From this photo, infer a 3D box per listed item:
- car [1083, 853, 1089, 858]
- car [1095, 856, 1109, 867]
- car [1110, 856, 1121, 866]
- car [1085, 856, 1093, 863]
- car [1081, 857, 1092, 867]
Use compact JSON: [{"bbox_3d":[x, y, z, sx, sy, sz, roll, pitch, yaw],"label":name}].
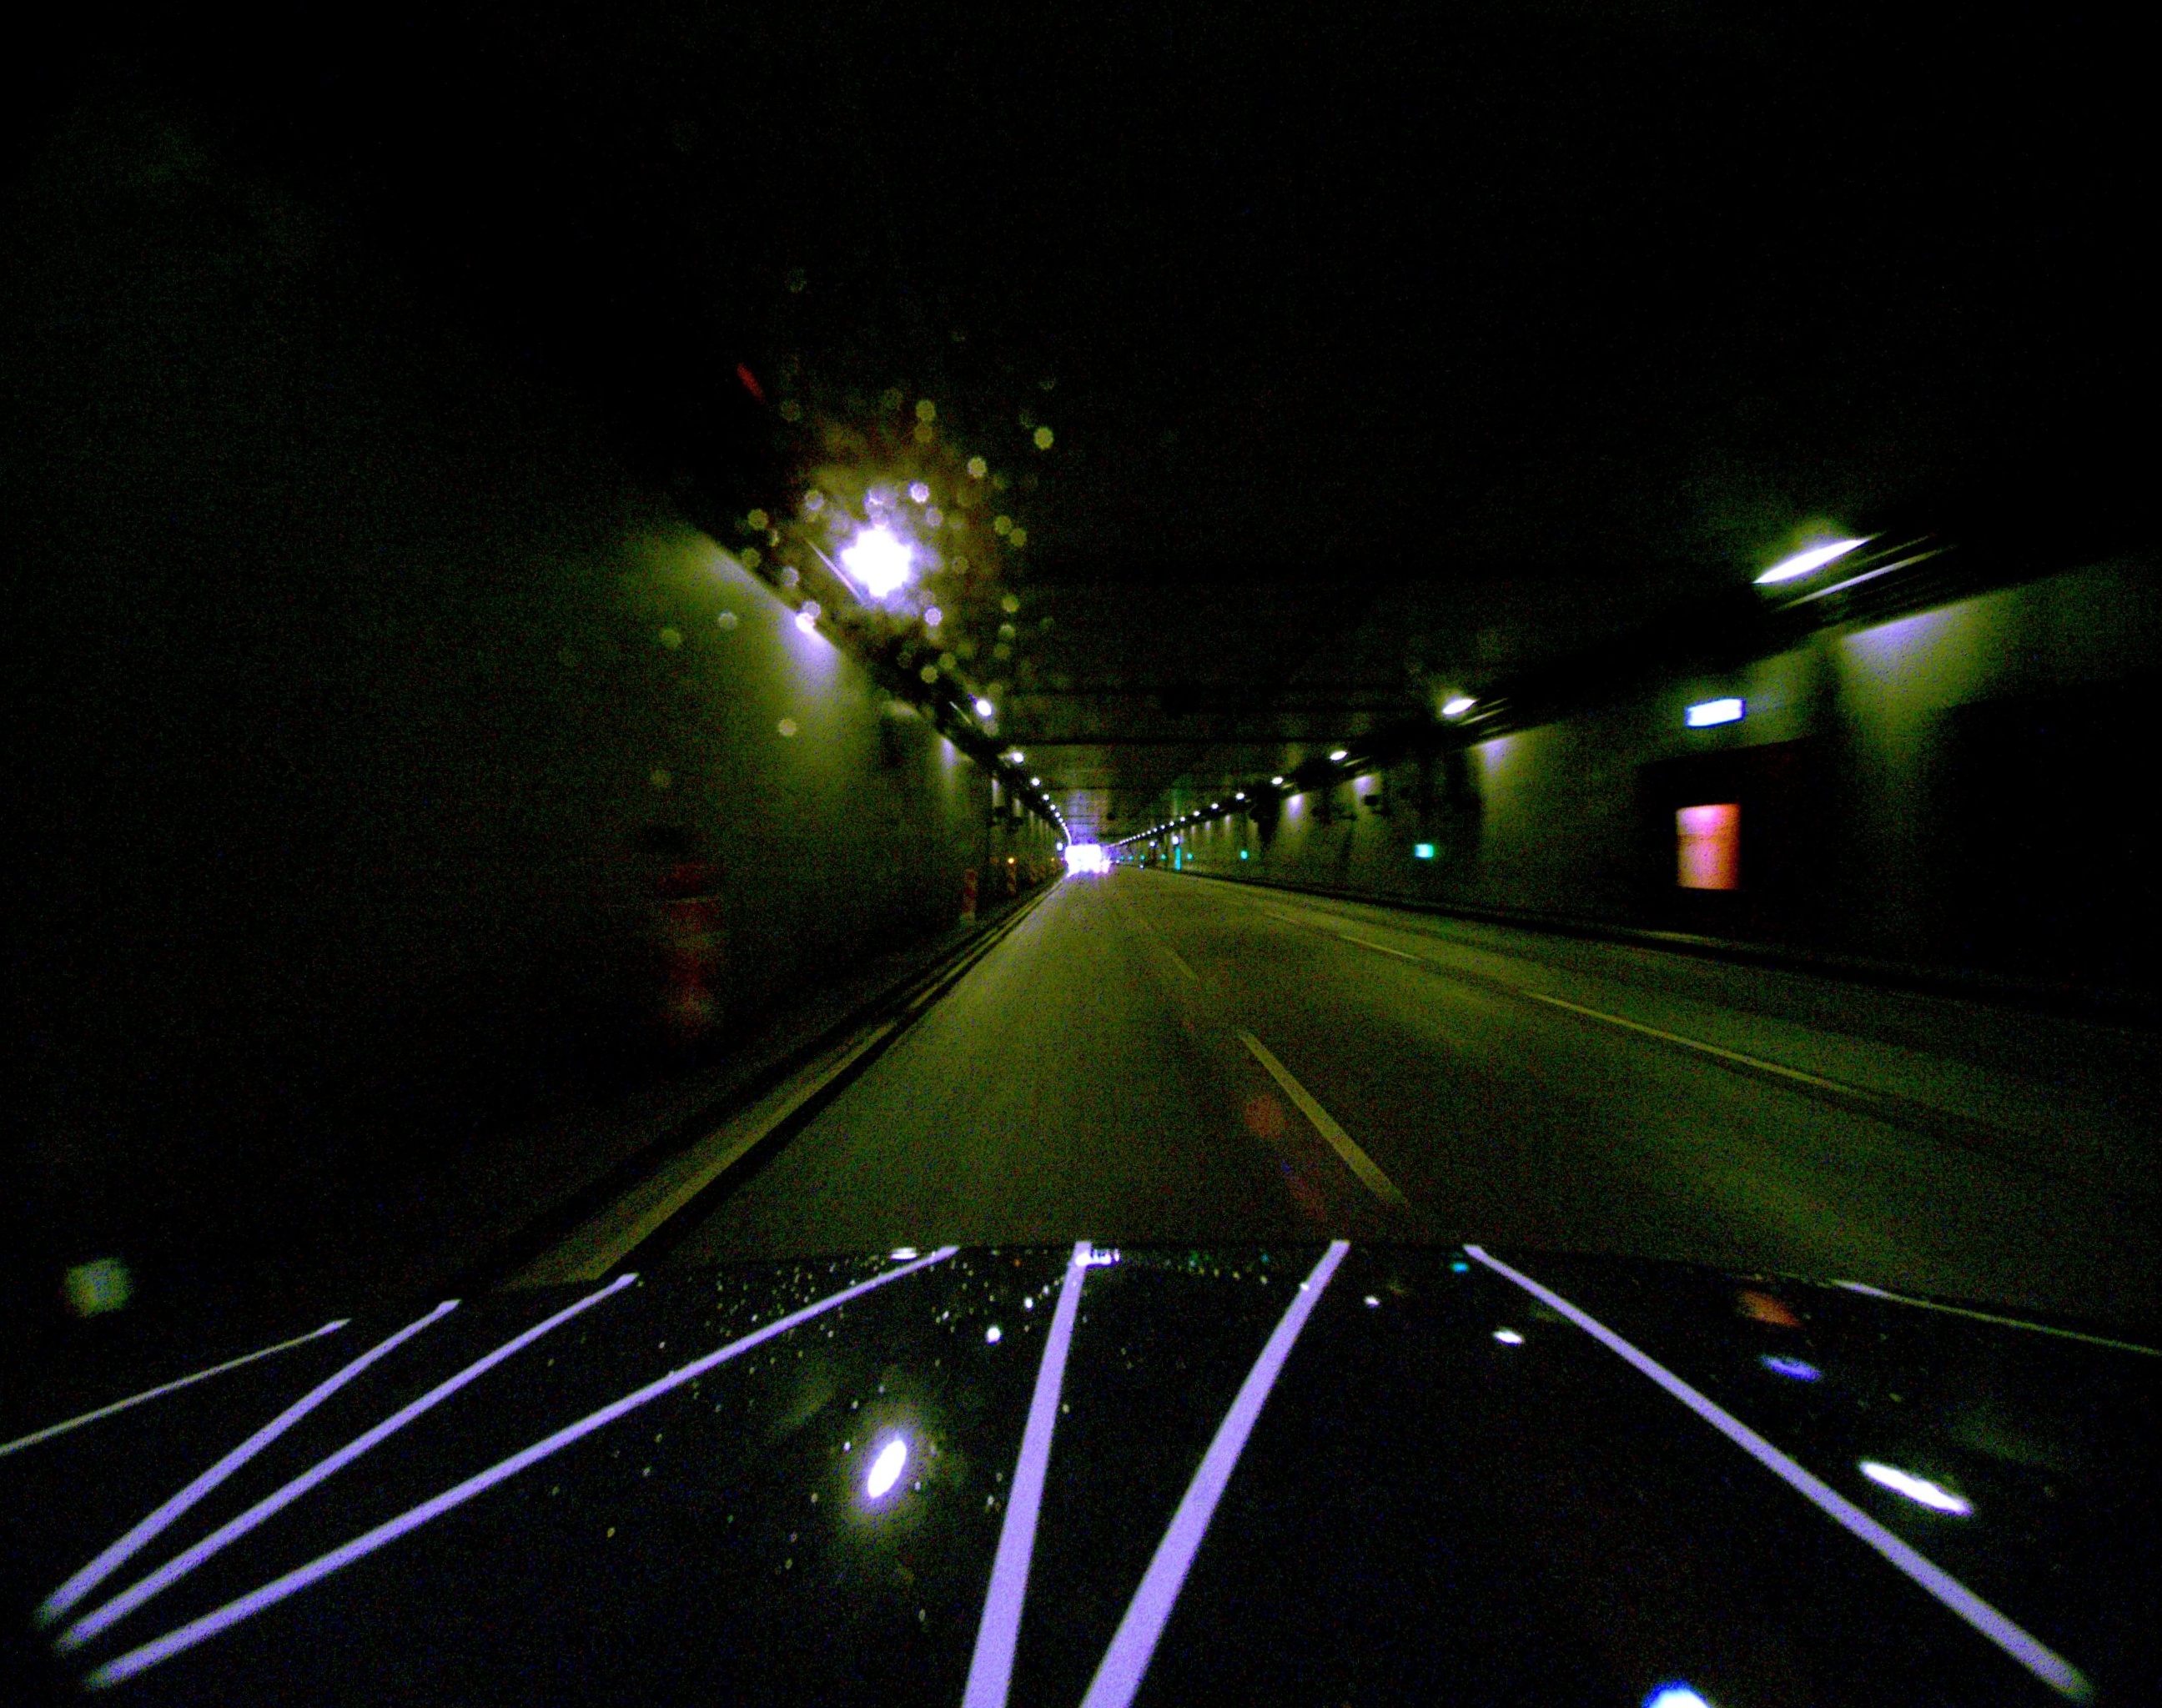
[{"bbox_3d":[1.613,0.542,255.850,1.998,1.756,4.000,-1,0,1],"label":"car"},{"bbox_3d":[3.517,1.210,125.766,1.998,1.685,4.002,-1,0,5],"label":"car"},{"bbox_3d":[6.365,1.293,139.951,1.998,1.685,4.001,0,-1,1],"label":"car"},{"bbox_3d":[2.265,1.583,213.087,1.998,1.756,4.000,-1,0,1],"label":"car"},{"bbox_3d":[0.973,1.410,133.486,1.998,1.685,4.000,-1,0,1],"label":"car"}]
